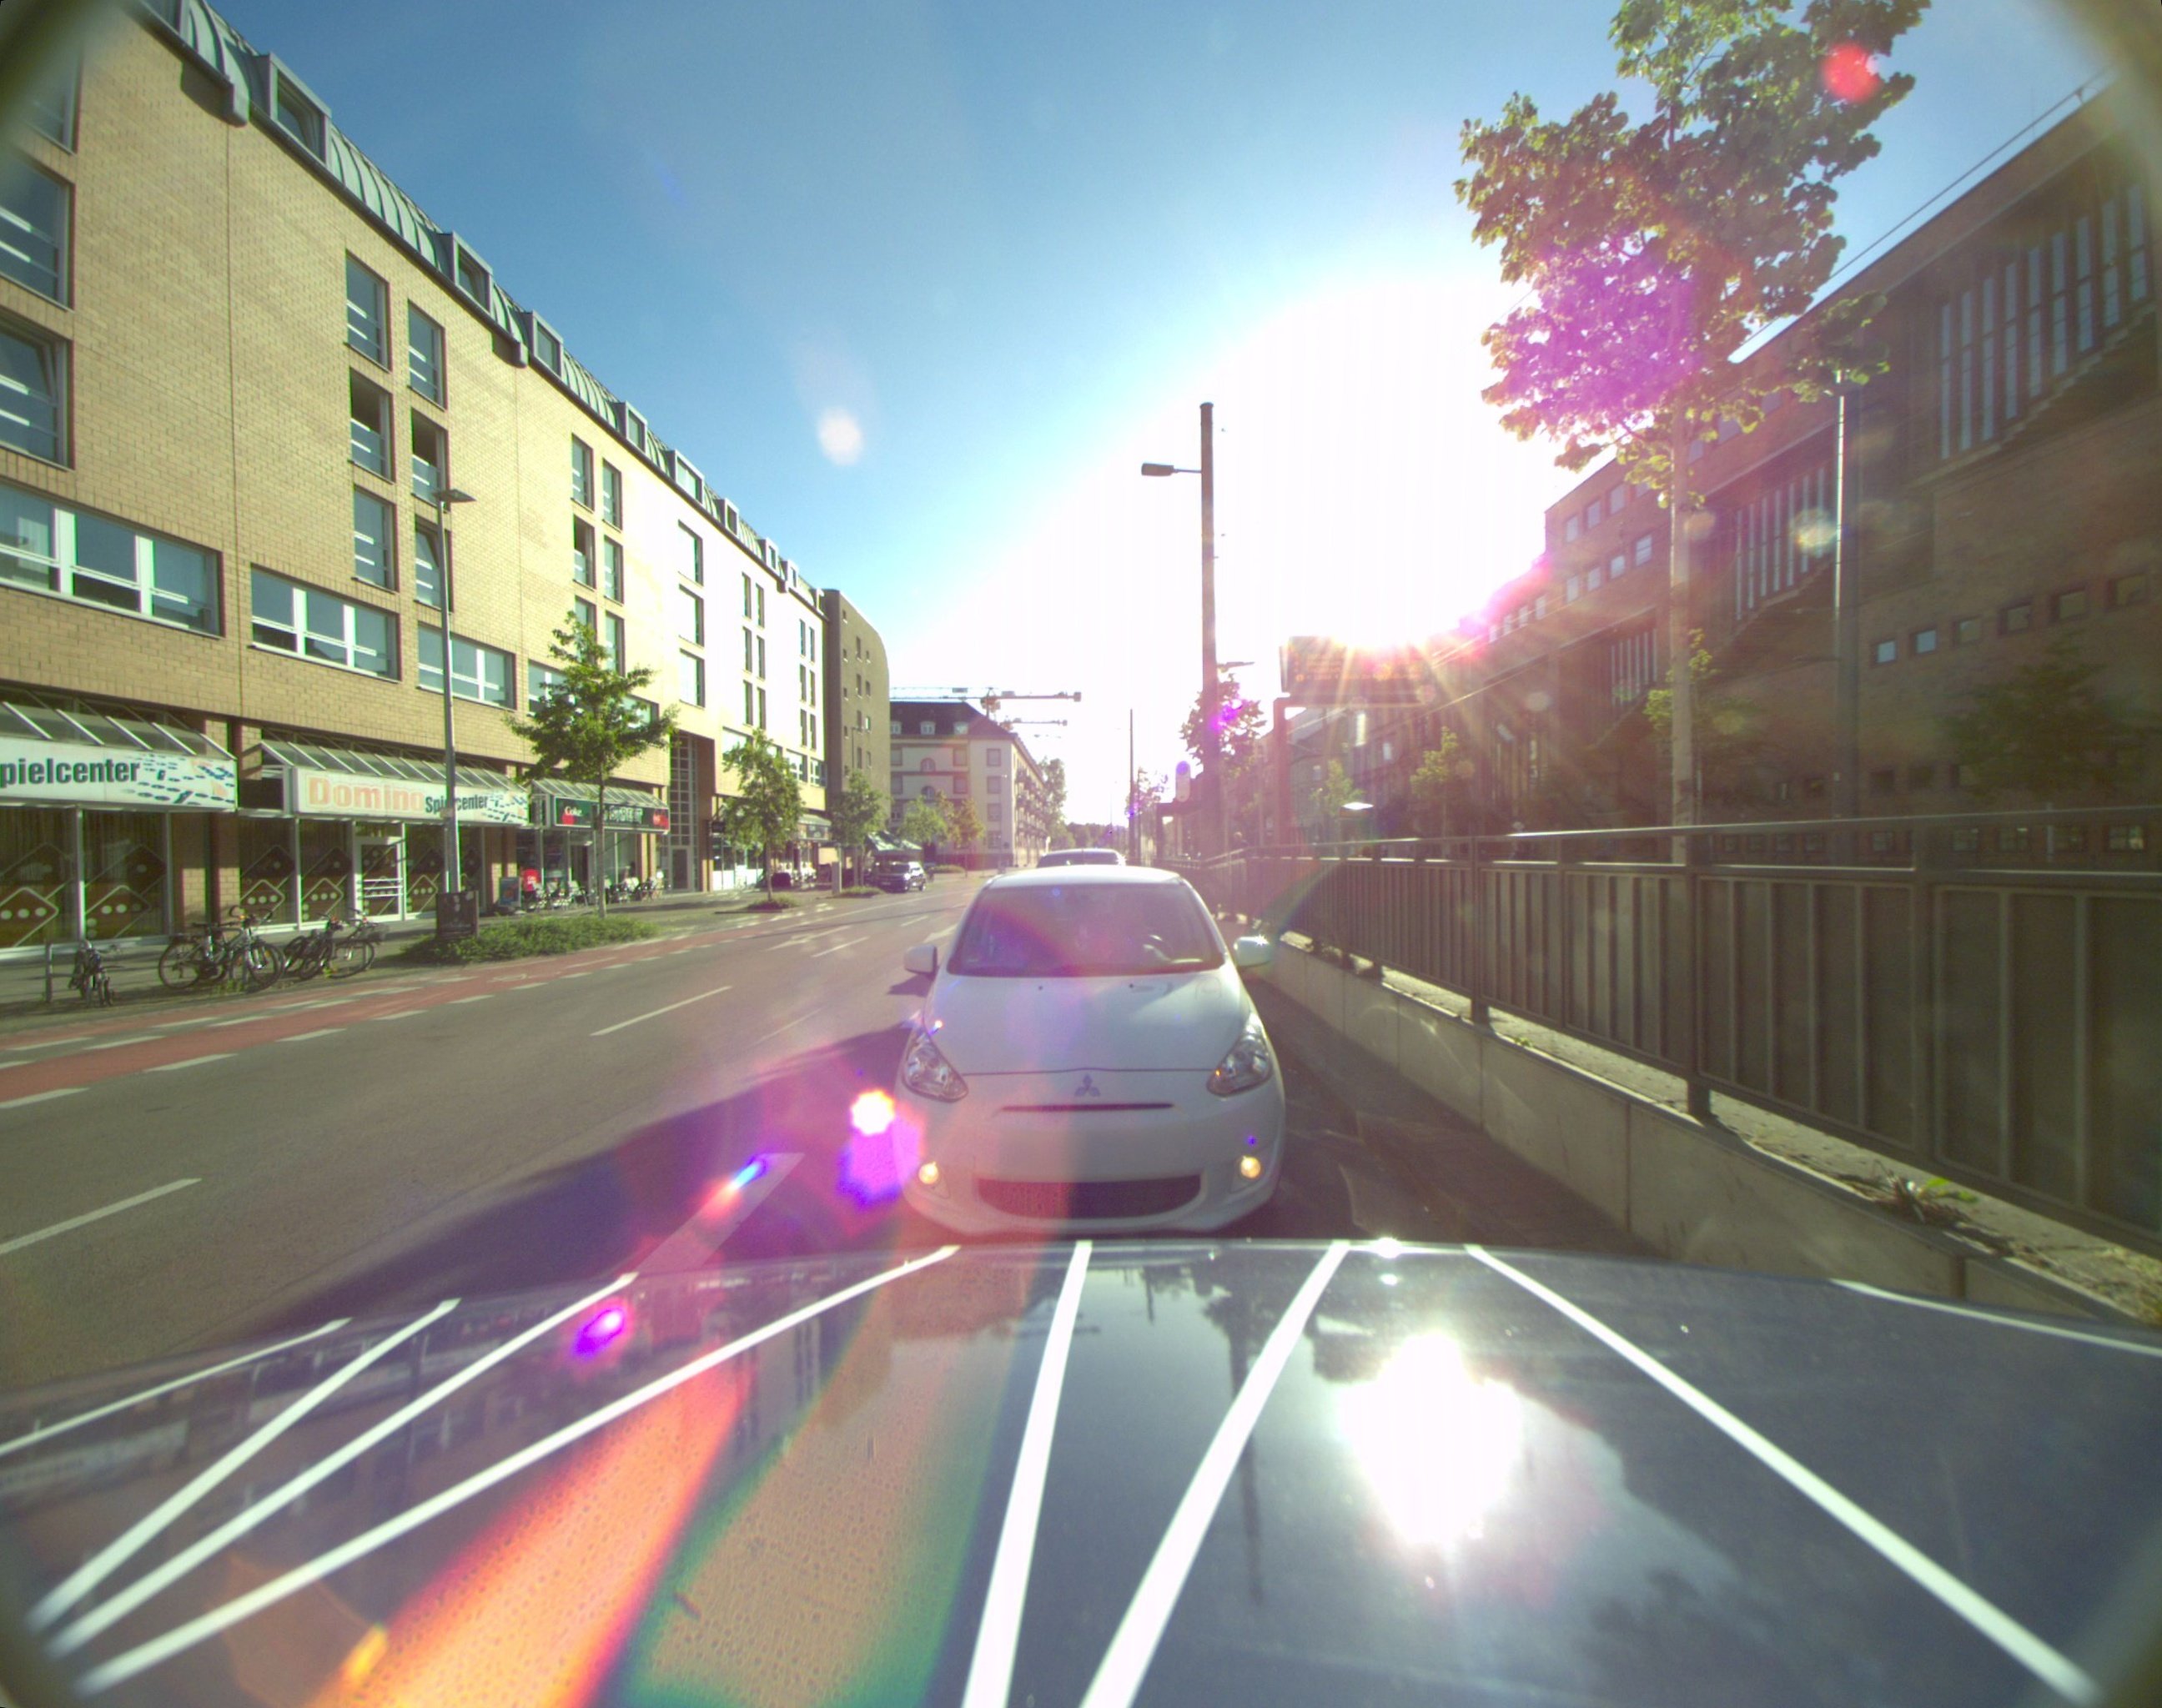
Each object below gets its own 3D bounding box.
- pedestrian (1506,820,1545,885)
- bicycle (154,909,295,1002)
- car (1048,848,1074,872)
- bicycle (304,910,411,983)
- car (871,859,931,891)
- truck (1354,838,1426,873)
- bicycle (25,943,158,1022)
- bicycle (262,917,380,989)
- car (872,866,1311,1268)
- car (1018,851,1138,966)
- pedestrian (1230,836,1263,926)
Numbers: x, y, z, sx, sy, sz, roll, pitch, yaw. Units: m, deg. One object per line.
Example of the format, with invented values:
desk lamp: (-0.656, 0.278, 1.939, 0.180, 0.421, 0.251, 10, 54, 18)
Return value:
pedestrian: (12.570, -0.050, 21.493, 0.685, 1.797, 0.668, -2, 2, 0)
bicycle: (-12.354, 1.436, 10.966, 1.835, 1.156, 0.565, 1, 2, 15)
car: (-1.753, 0.497, 67.514, 2.164, 1.904, 4.472, -2, 0, 0)
bicycle: (-11.907, 1.504, 12.504, 1.835, 1.050, 0.350, 1, 2, 15)
car: (-9.787, 1.120, 41.620, 1.778, 1.630, 4.002, -1, 0, 9)
truck: (17.700, 0.099, 43.848, 1.999, 1.868, 5.155, 1, 0, 0)
bicycle: (-12.689, 1.627, 9.740, 1.772, 0.827, 0.366, 1, 2, 15)
bicycle: (-12.037, 1.544, 12.034, 1.835, 0.980, 0.449, 1, 2, 15)
car: (0.044, 0.897, 5.179, 1.720, 1.422, 4.215, -2, 1, 0)
car: (-0.054, 0.812, 13.446, 1.720, 1.591, 4.215, -2, 1, 0)
pedestrian: (4.571, 0.725, 21.008, 0.684, 2.428, 0.626, -2, 2, -2)
